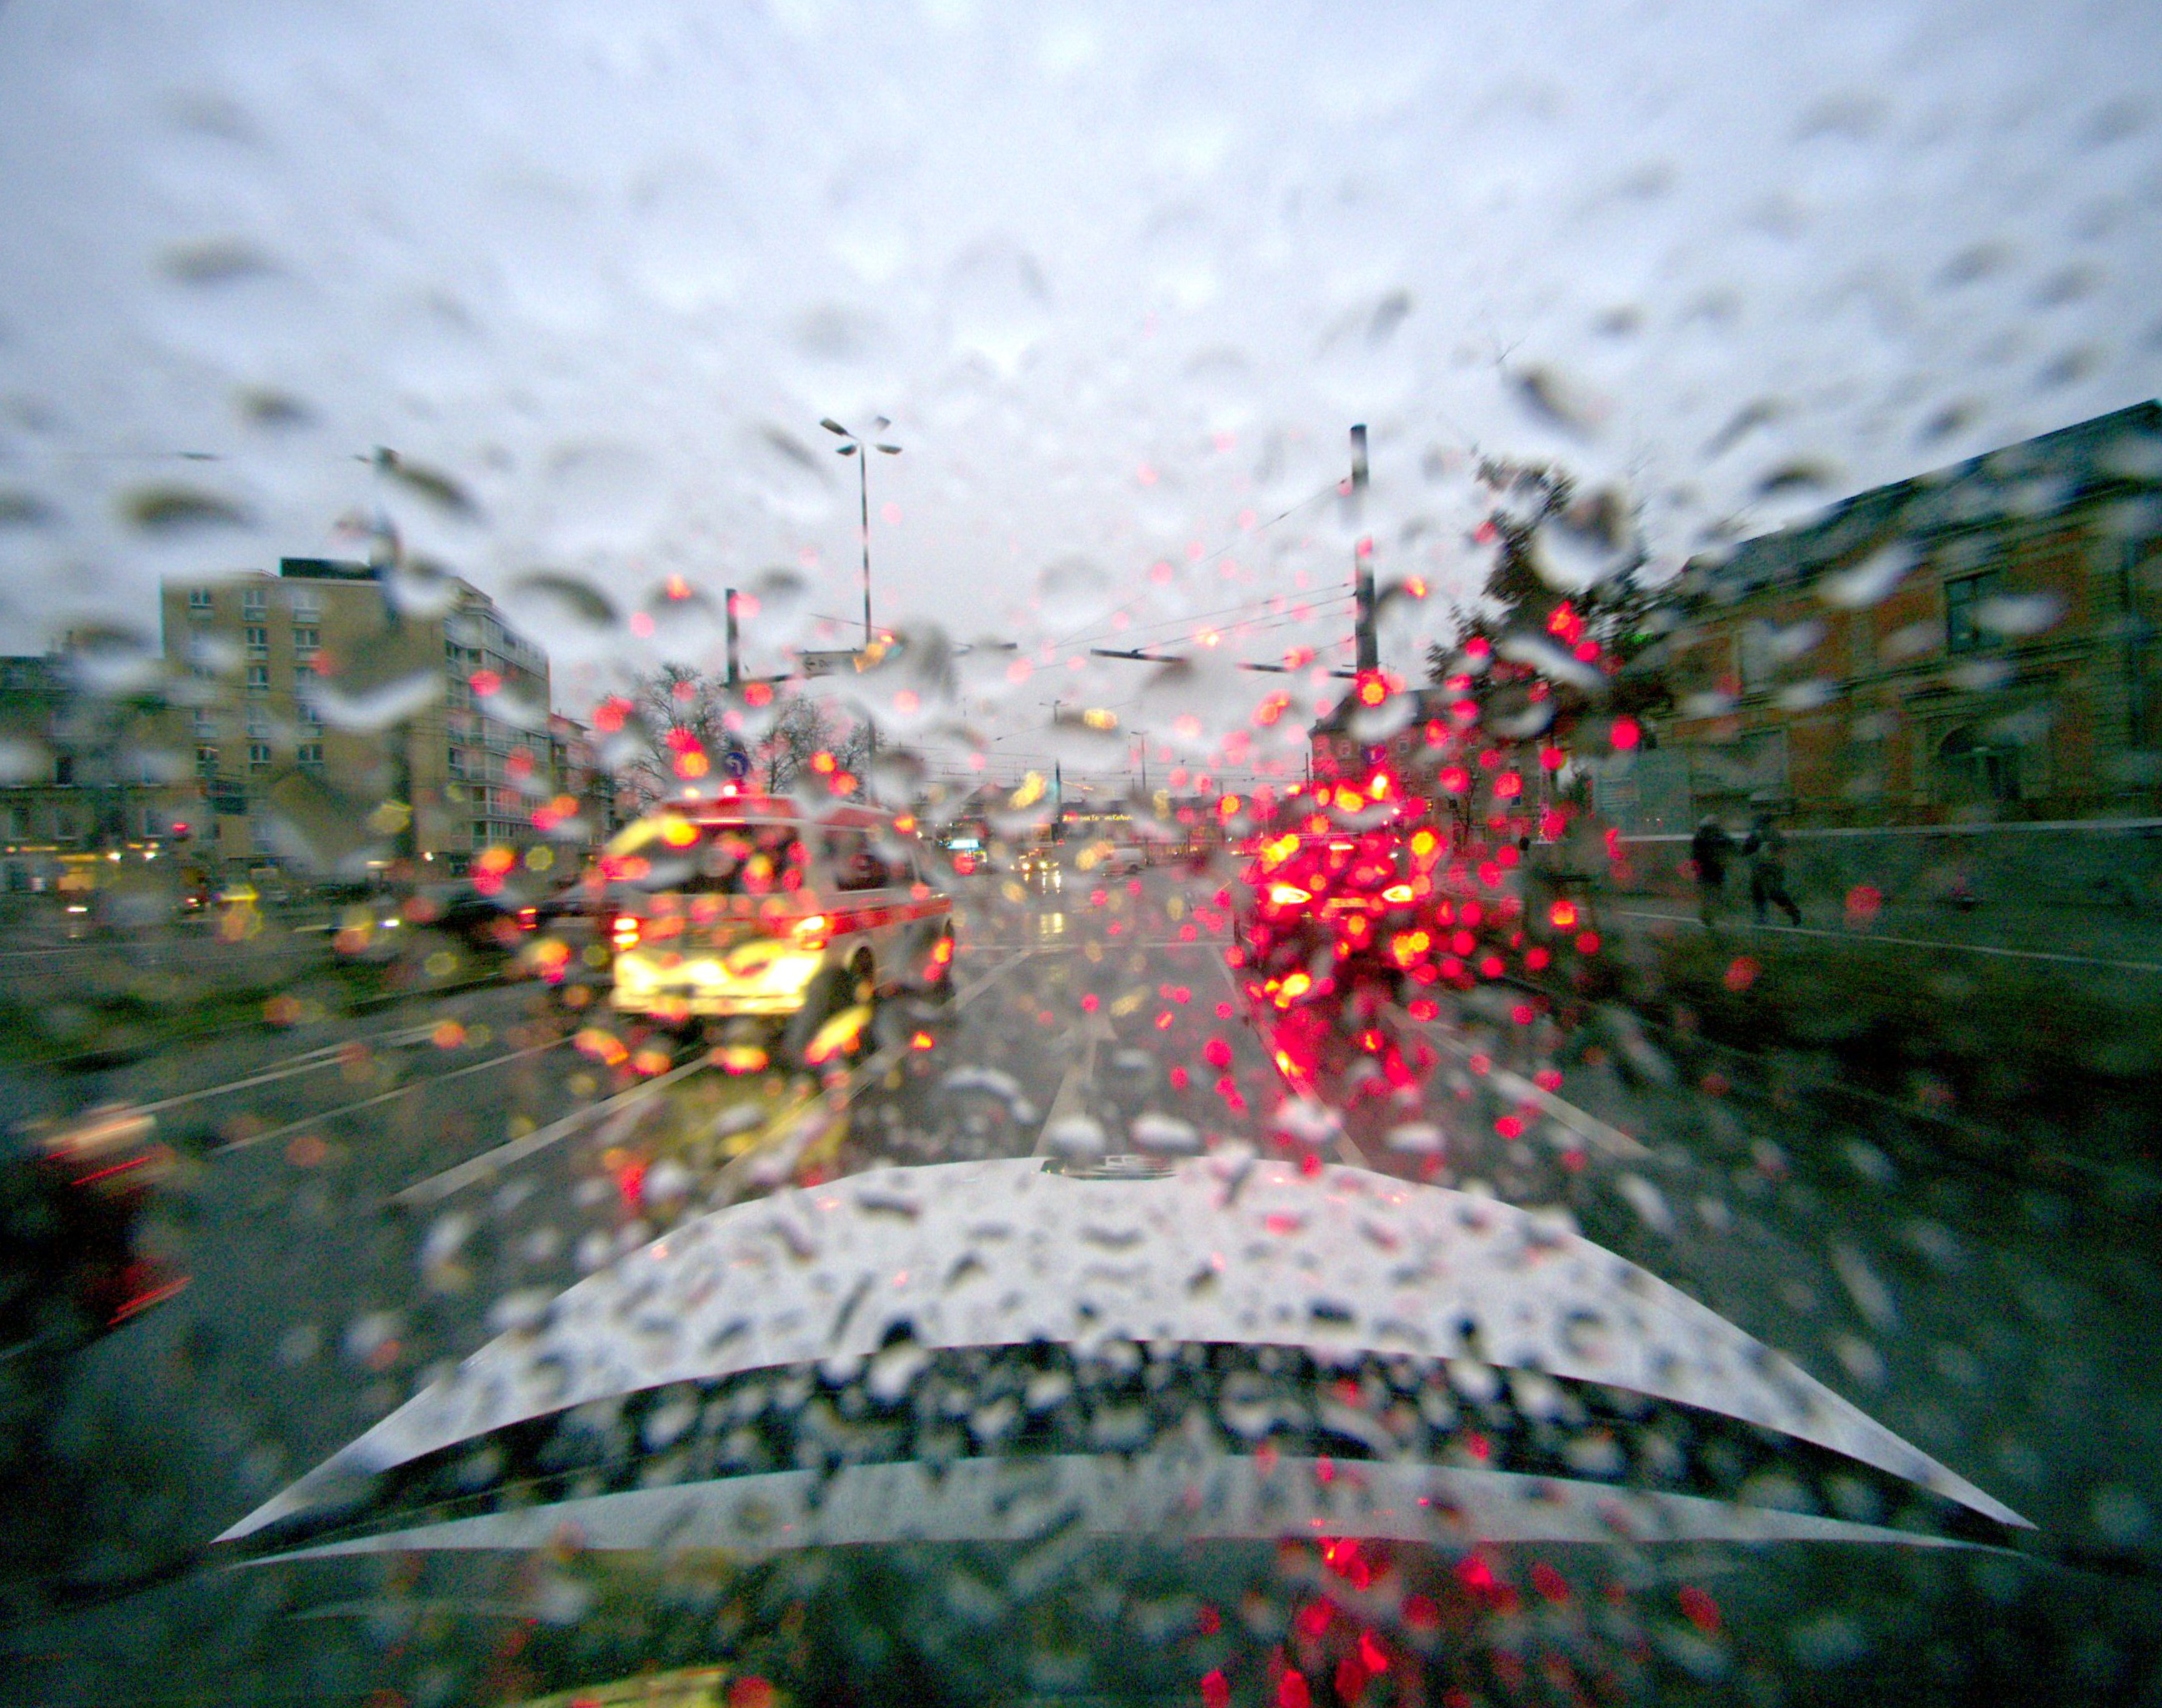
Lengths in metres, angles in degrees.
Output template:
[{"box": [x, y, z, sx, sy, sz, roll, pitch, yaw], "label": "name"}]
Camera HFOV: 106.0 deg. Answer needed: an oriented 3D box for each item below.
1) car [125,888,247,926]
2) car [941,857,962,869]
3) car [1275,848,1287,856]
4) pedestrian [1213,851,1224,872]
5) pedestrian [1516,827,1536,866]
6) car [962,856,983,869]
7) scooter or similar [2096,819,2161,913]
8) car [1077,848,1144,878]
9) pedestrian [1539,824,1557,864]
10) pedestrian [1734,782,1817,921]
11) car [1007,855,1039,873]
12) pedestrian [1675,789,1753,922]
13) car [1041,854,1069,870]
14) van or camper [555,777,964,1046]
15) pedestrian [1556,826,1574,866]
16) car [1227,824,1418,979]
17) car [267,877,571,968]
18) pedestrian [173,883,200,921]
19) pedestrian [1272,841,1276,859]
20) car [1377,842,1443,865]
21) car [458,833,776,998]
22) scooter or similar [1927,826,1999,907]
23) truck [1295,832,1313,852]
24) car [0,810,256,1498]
[{"box": [-48.943, 2.865, 44.634, 3.990, 1.772, 1.992, -3, -1, -12], "label": "car"}, {"box": [-17.723, 1.233, 111.753, 1.854, 1.601, 4.005, -3, 0, 5], "label": "car"}, {"box": [41.239, -0.364, 167.524, 1.846, 1.601, 3.806, -3, 0, 21], "label": "car"}, {"box": [12.151, 0.659, 72.008, 0.595, 1.840, 0.613, -2, -1, -32], "label": "pedestrian"}, {"box": [22.600, -0.385, 41.334, 0.669, 1.950, 0.681, -3, -1, 41], "label": "pedestrian"}, {"box": [-14.805, 1.147, 111.402, 1.854, 1.601, 4.005, -3, 0, 5], "label": "car"}, {"box": [14.508, 0.143, 10.983, 0.508, 1.214, 1.391, -3, -1, 29], "label": "scooter or similar"}, {"box": [2.080, 0.650, 57.833, 4.408, 2.014, 1.902, 0, -4, -14], "label": "car"}, {"box": [23.214, -0.491, 40.469, 0.669, 1.950, 0.666, -3, -1, 31], "label": "pedestrian"}, {"box": [10.478, -0.047, 12.313, 0.800, 2.013, 0.765, -1, 2, 27], "label": "pedestrian"}, {"box": [-5.181, 0.892, 73.462, 1.801, 1.446, 4.013, -3, 0, 12], "label": "car"}, {"box": [9.522, 0.012, 12.278, 0.800, 1.929, 0.765, -1, 2, 27], "label": "pedestrian"}, {"box": [-2.510, 0.816, 80.034, 1.801, 1.446, 4.013, -3, 0, 12], "label": "car"}, {"box": [-2.924, 0.476, 8.943, 2.192, 2.109, 4.993, -1, 0, 4], "label": "van or camper"}, {"box": [23.798, -0.397, 40.016, 0.669, 1.950, 0.666, -3, -1, 30], "label": "pedestrian"}, {"box": [3.239, 0.549, 11.828, 1.769, 1.800, 4.430, -1, 0, 5], "label": "car"}, {"box": [-12.748, 1.235, 16.210, 1.796, 1.419, 4.830, -1, -1, 5], "label": "car"}, {"box": [-44.018, 2.373, 40.096, 0.628, 1.802, 0.570, -2, 0, -15], "label": "pedestrian"}, {"box": [22.403, -0.453, 94.669, 0.341, 2.013, 0.420, -3, -1, 18], "label": "pedestrian"}, {"box": [26.189, -0.057, 64.854, 4.810, 1.657, 1.730, -2, -1, -17], "label": "car"}, {"box": [-5.876, 0.689, 10.994, 1.878, 1.772, 4.001, -2, 0, 1], "label": "car"}, {"box": [14.061, 0.184, 13.007, 0.507, 1.214, 1.392, -3, -1, 38], "label": "scooter or similar"}, {"box": [31.688, -1.626, 115.526, 1.977, 2.691, 5.141, -3, 0, 20], "label": "truck"}, {"box": [-3.432, 0.684, 0.186, 1.779, 1.601, 4.542, 0, 0, 1], "label": "car"}]
